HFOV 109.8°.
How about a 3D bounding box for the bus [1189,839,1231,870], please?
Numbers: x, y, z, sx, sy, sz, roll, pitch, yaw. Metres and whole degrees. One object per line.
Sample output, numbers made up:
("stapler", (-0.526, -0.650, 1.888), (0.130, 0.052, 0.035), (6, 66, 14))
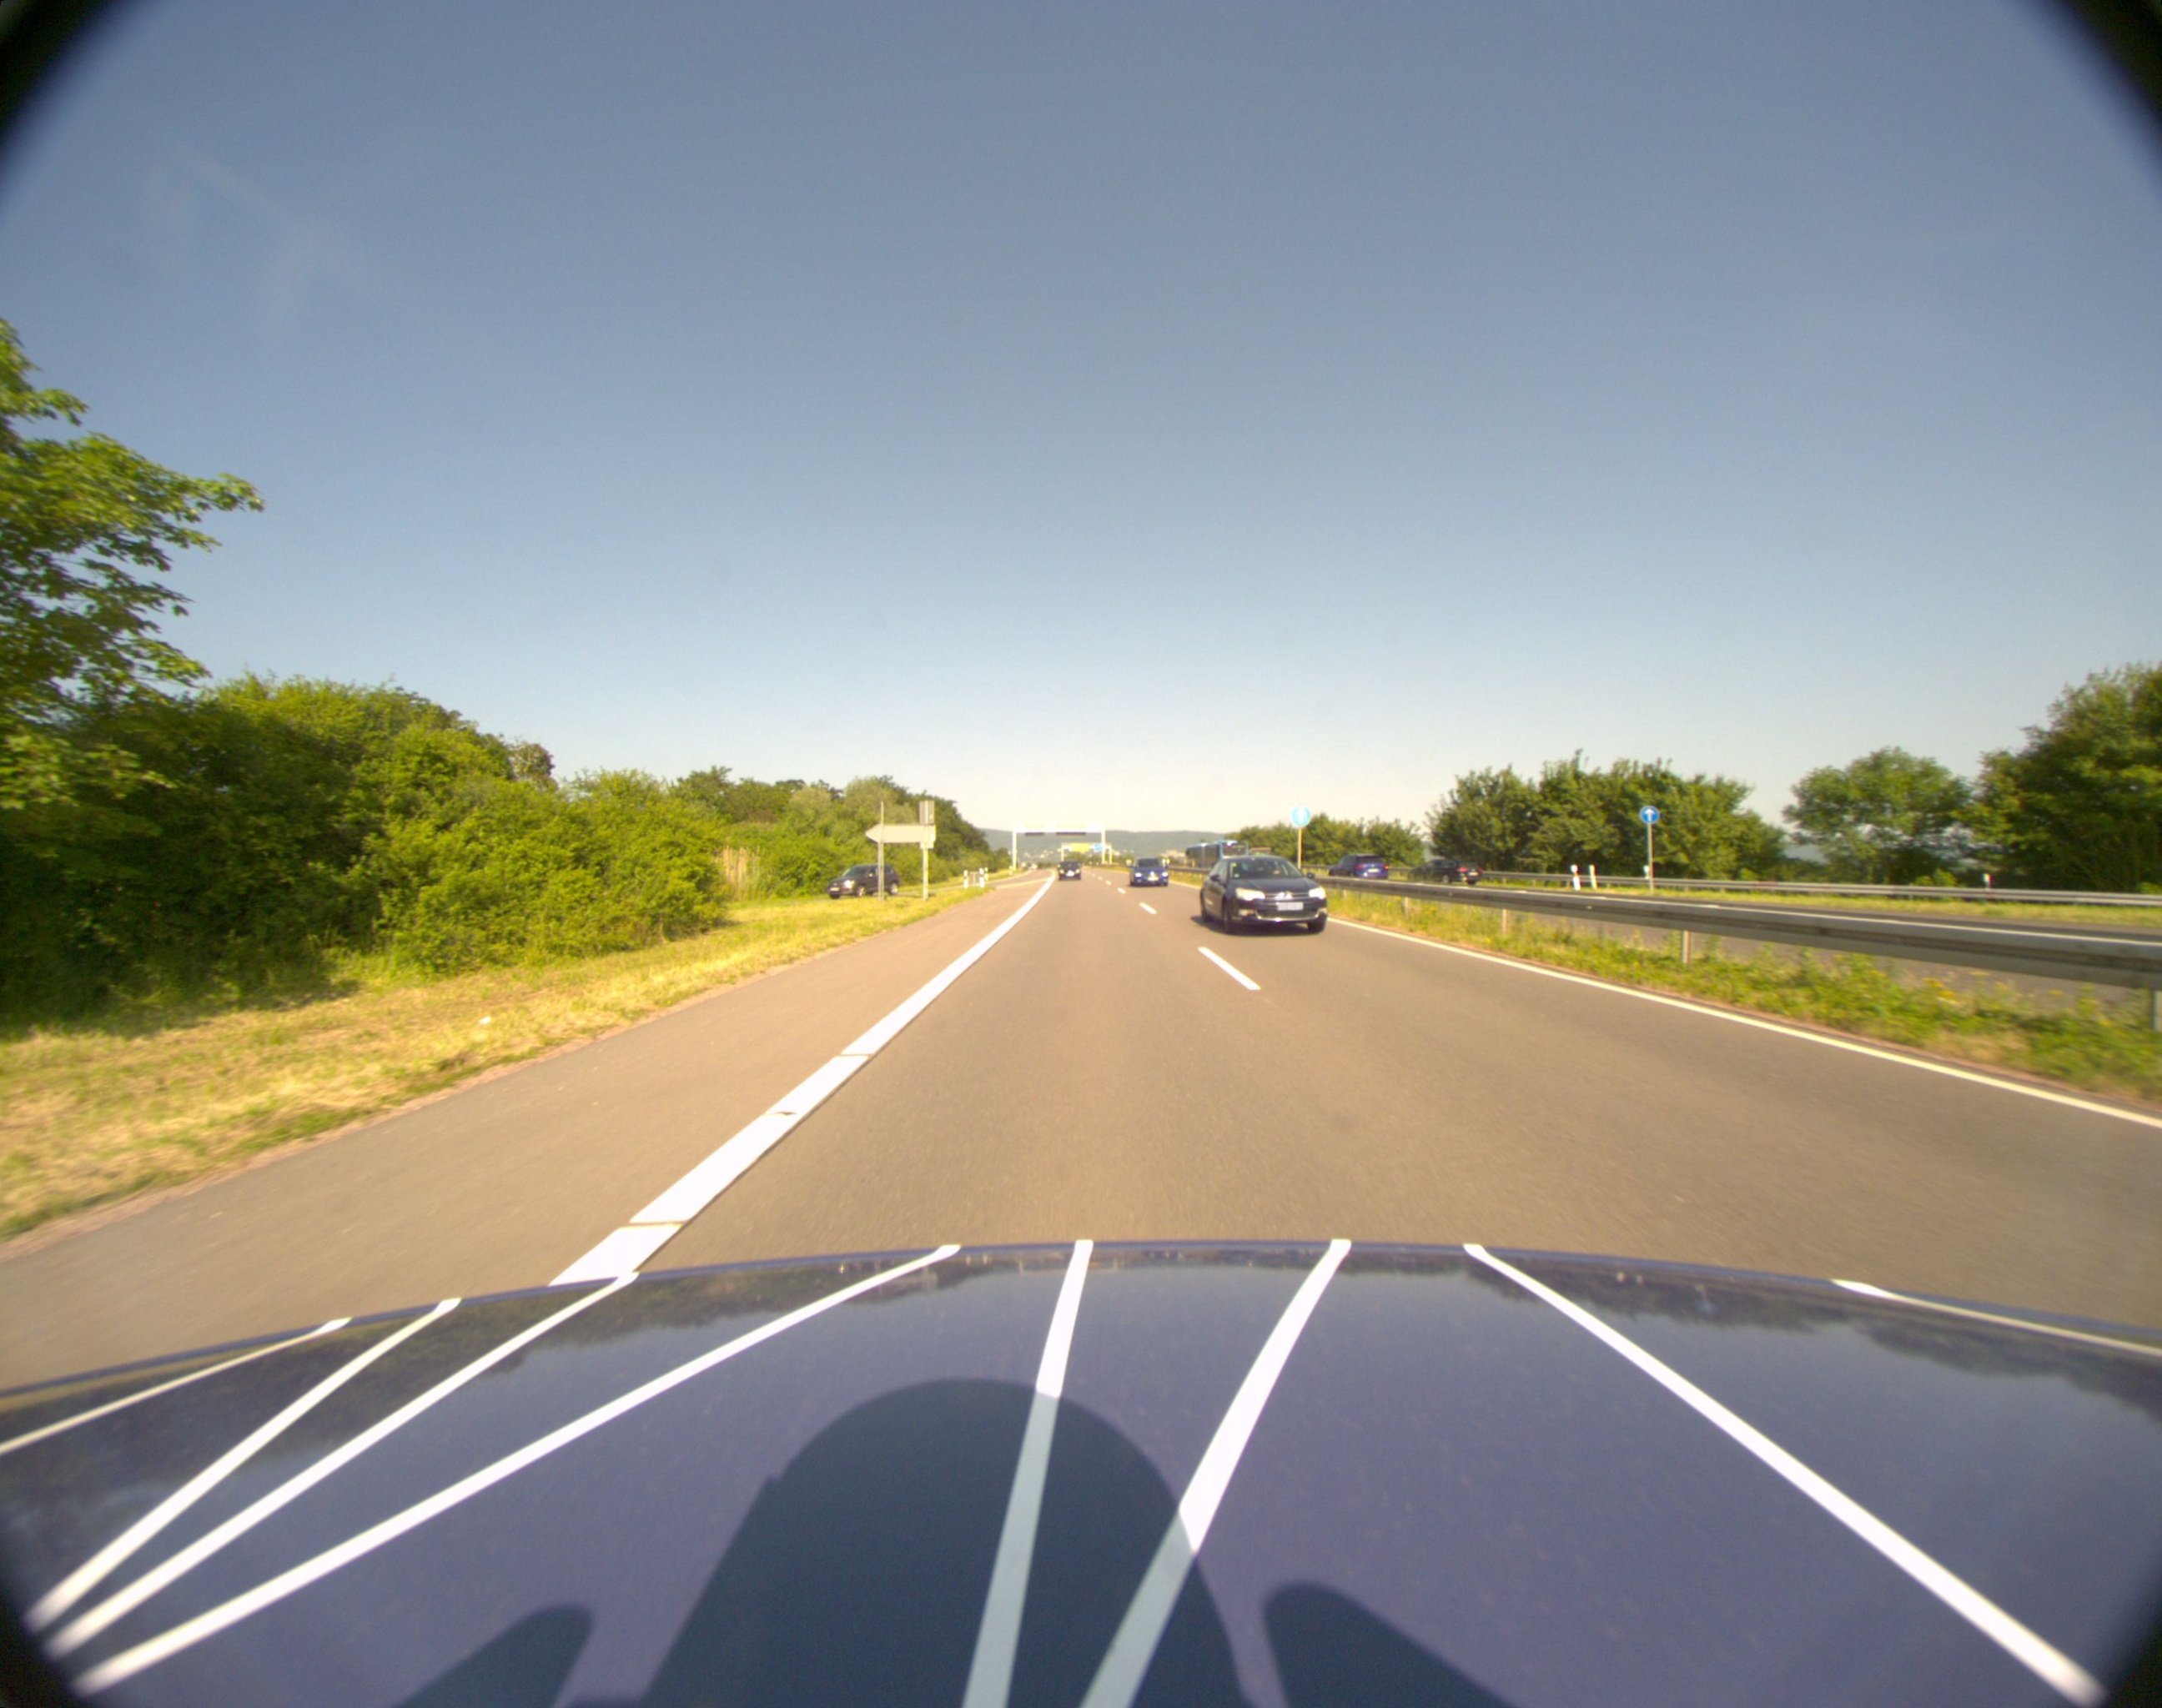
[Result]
("bus", (13.791, 0.037, 82.016), (2.732, 3.092, 9.834), (-1, 0, -1))

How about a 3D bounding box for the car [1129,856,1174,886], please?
("car", (3.511, 0.818, 38.452), (1.652, 1.403, 3.774), (-2, 0, -3))

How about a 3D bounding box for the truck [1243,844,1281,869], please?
("truck", (18.235, 0.221, 76.999), (2.132, 2.439, 6.616), (0, 0, -1))

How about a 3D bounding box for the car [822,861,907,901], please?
("car", (-10.928, 1.315, 38.661), (1.787, 1.637, 4.153), (-4, 0, 23))

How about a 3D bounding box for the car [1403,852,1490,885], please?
("car", (20.661, 0.793, 43.175), (1.841, 1.690, 4.747), (-2, 0, -14))

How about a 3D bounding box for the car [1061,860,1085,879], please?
("car", (-0.542, 1.103, 55.292), (1.600, 1.241, 4.000), (-2, -1, 0))

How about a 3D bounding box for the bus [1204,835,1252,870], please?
("bus", (13.973, -0.108, 72.915), (2.733, 3.092, 8.392), (-1, 0, -2))

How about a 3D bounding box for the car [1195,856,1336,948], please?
("car", (3.534, 0.838, 15.396), (1.788, 1.524, 4.375), (-2, 0, 1))

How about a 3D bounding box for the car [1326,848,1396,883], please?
("car", (14.333, 0.591, 39.125), (1.998, 1.596, 4.274), (-2, -1, 0))
